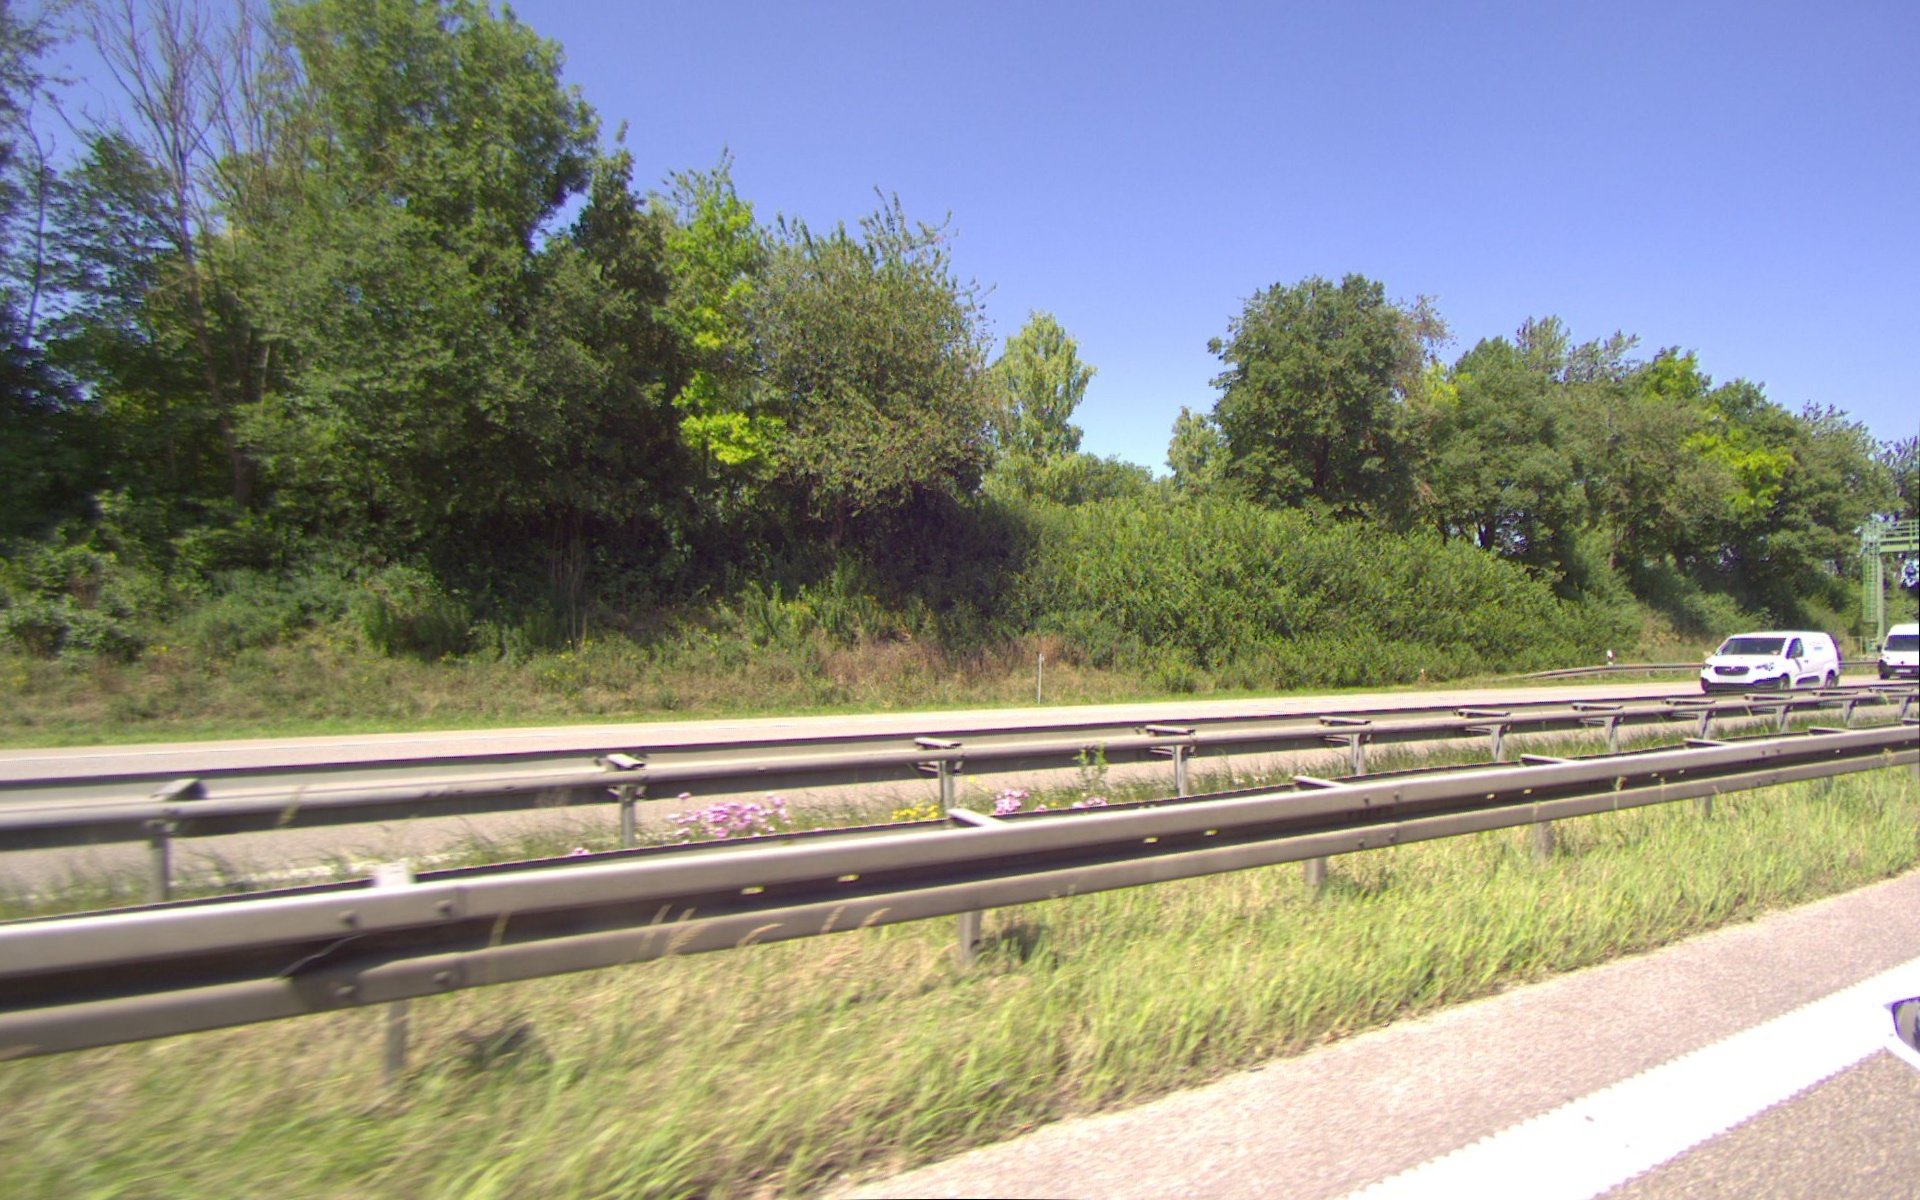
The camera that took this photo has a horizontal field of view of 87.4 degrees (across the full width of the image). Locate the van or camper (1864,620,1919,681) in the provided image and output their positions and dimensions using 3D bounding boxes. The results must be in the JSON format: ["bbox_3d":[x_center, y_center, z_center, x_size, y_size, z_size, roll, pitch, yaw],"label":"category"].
[{"bbox_3d":[43.271,2.251,45.231,6.126,2.593,2.028,1,-3,-31],"label":"van or camper"}]

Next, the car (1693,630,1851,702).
[{"bbox_3d":[22.786,1.806,28.143,5.109,1.854,1.738,1,-3,-31],"label":"car"}]
